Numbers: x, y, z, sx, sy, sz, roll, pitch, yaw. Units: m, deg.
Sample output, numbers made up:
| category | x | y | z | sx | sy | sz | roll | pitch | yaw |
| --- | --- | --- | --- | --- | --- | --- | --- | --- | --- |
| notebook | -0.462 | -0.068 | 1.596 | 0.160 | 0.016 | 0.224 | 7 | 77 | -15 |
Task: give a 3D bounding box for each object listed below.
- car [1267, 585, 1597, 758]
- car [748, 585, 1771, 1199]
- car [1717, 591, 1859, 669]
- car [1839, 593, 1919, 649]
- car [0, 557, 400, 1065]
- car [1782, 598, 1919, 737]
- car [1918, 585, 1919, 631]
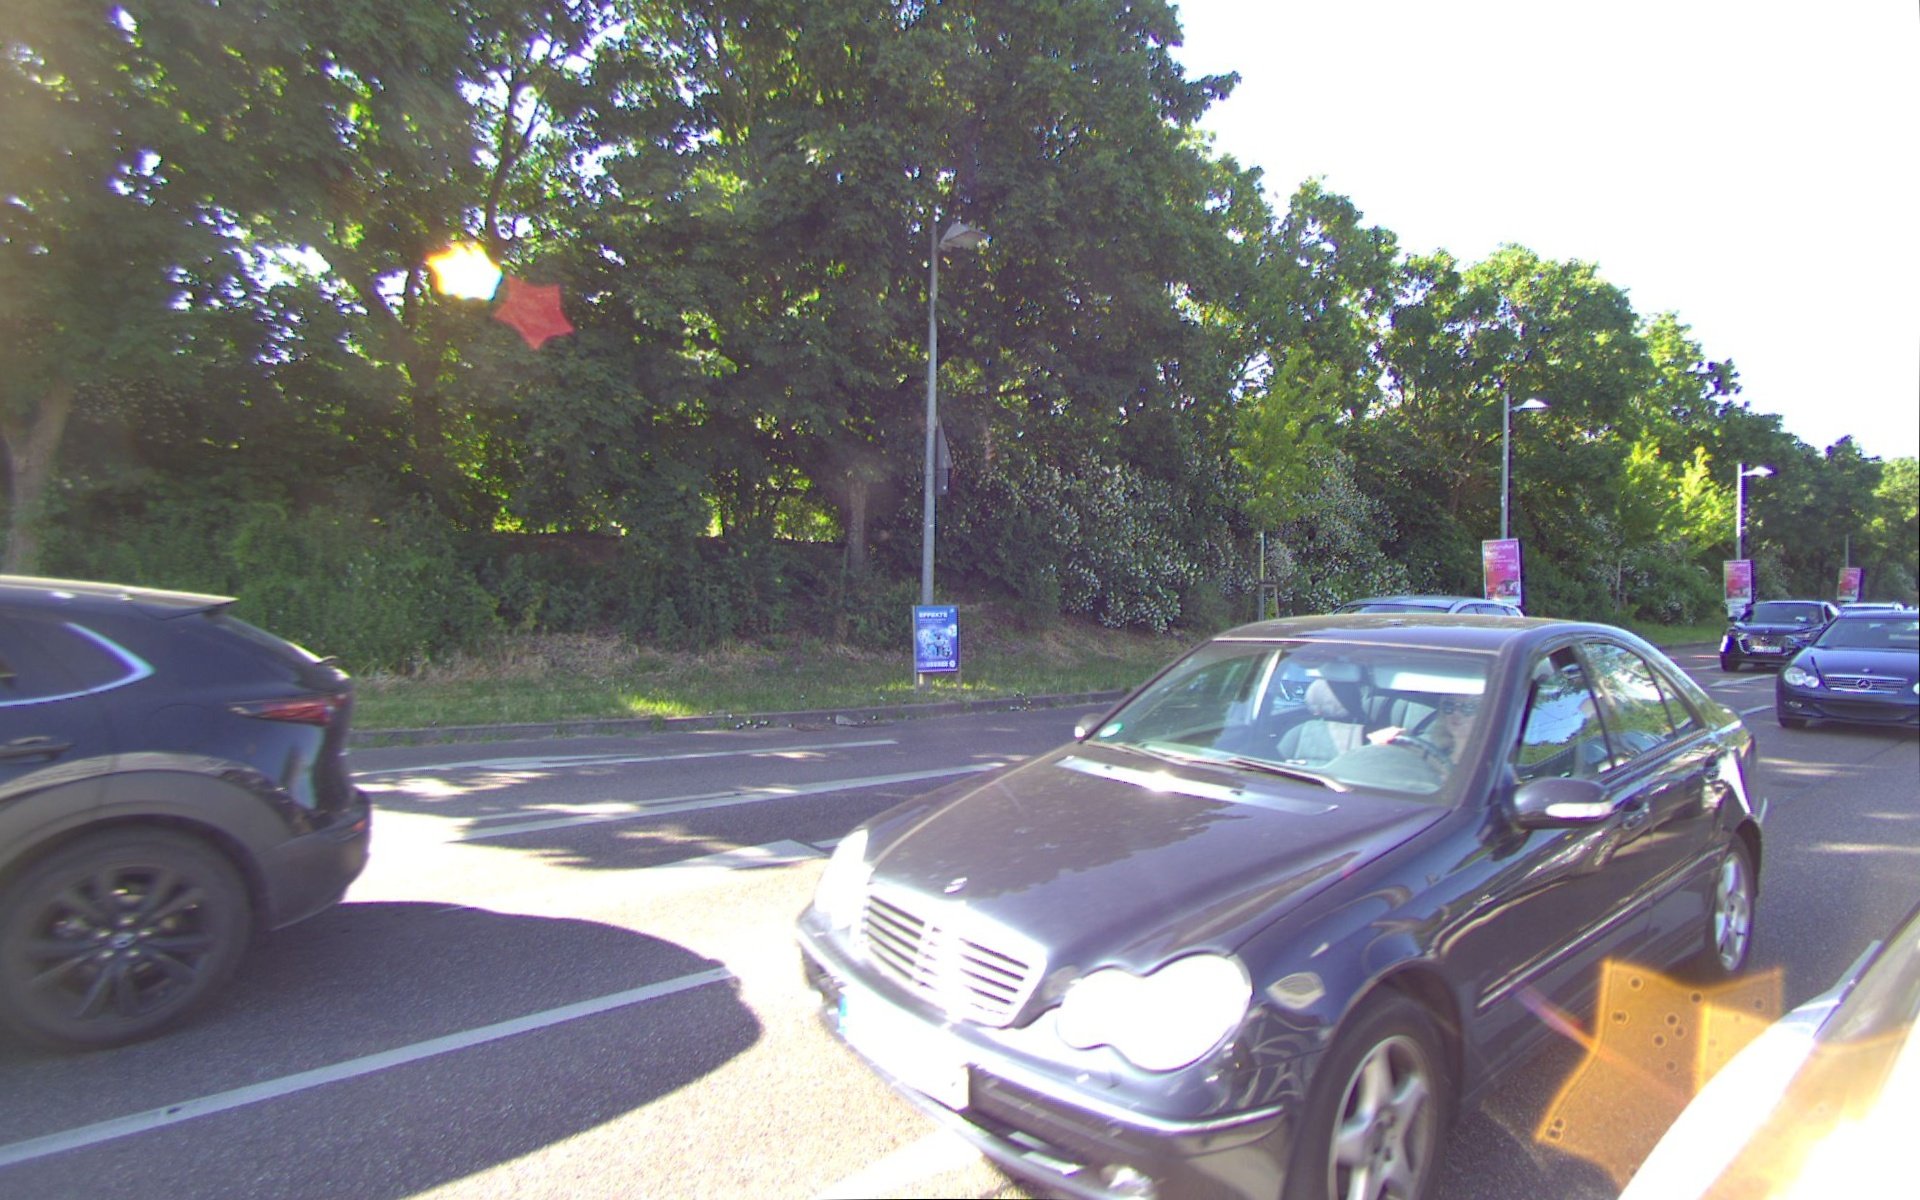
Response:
| category | x | y | z | sx | sy | sz | roll | pitch | yaw |
| --- | --- | --- | --- | --- | --- | --- | --- | --- | --- |
| car | 5.212 | 0.627 | 10.942 | 4.064 | 1.536 | 1.725 | 0 | 0 | -40 |
| car | 1.479 | 0.720 | 3.716 | 4.126 | 1.472 | 1.715 | 0 | 1 | -43 |
| car | 17.904 | 0.575 | 21.820 | 3.894 | 1.512 | 1.713 | 0 | 1 | -40 |
| car | 26.578 | 0.532 | 28.774 | 4.309 | 1.454 | 1.748 | -1 | 1 | -40 |
| car | -4.215 | 0.642 | 3.085 | 4.151 | 1.527 | 1.771 | -1 | 0 | -40 |
| car | 11.448 | 0.710 | 12.197 | 3.979 | 1.437 | 1.722 | 0 | 1 | -41 |
| car | 36.528 | 0.303 | 37.038 | 3.930 | 1.682 | 1.748 | 0 | 1 | -41 |
